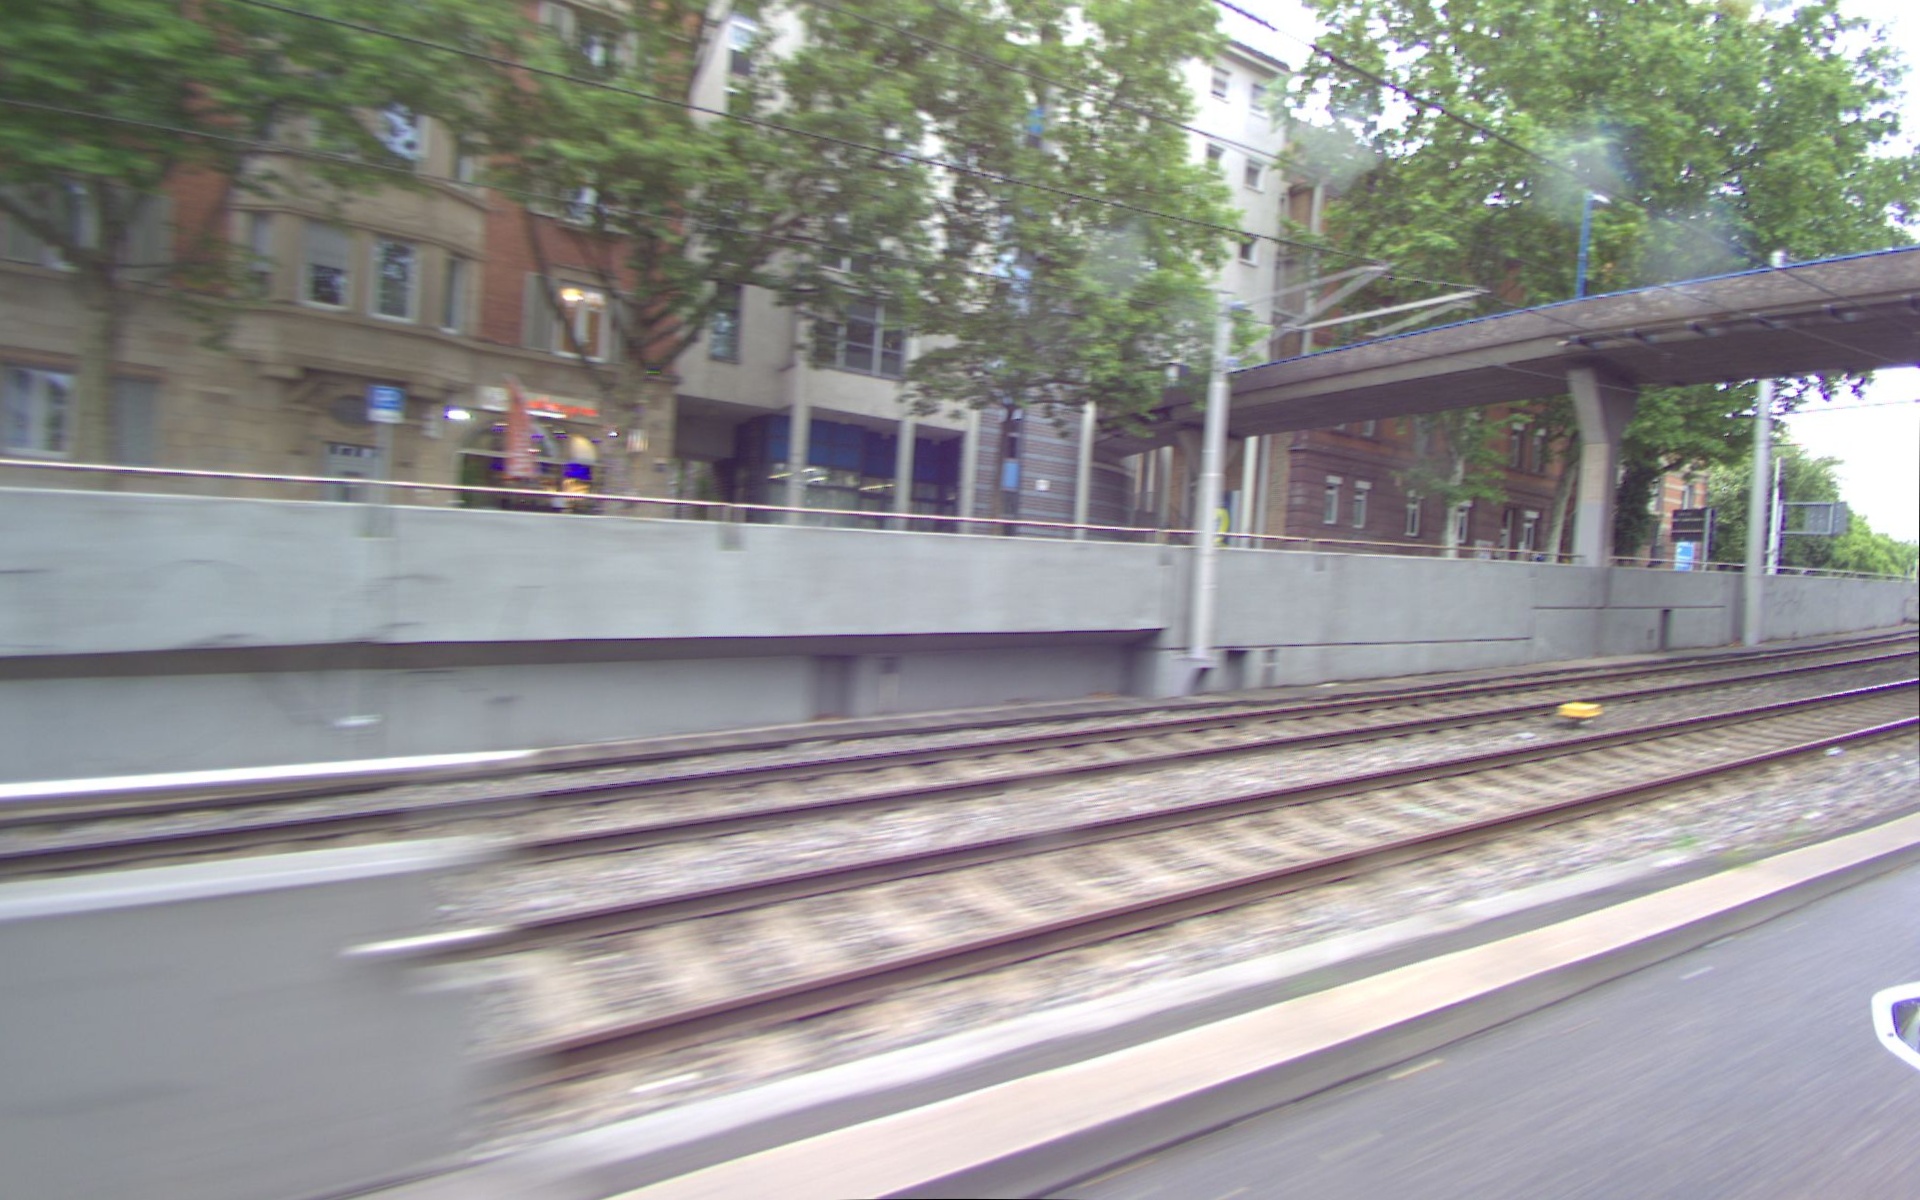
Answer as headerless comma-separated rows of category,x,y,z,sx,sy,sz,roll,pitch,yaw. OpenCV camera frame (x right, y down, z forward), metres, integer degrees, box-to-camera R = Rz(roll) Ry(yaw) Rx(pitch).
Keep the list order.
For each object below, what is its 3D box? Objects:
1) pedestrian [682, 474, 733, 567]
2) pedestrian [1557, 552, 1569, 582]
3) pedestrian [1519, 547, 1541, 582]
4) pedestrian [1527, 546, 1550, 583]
pedestrian,-5.799,-1.807,23.028,0.923,2.041,0.666,2,4,-29
pedestrian,27.196,-1.466,45.294,0.500,1.352,0.331,-1,2,-39
pedestrian,26.467,-1.646,46.665,0.712,1.646,0.591,-1,1,-25
pedestrian,26.347,-1.606,45.779,0.712,1.646,0.591,-1,1,-25
